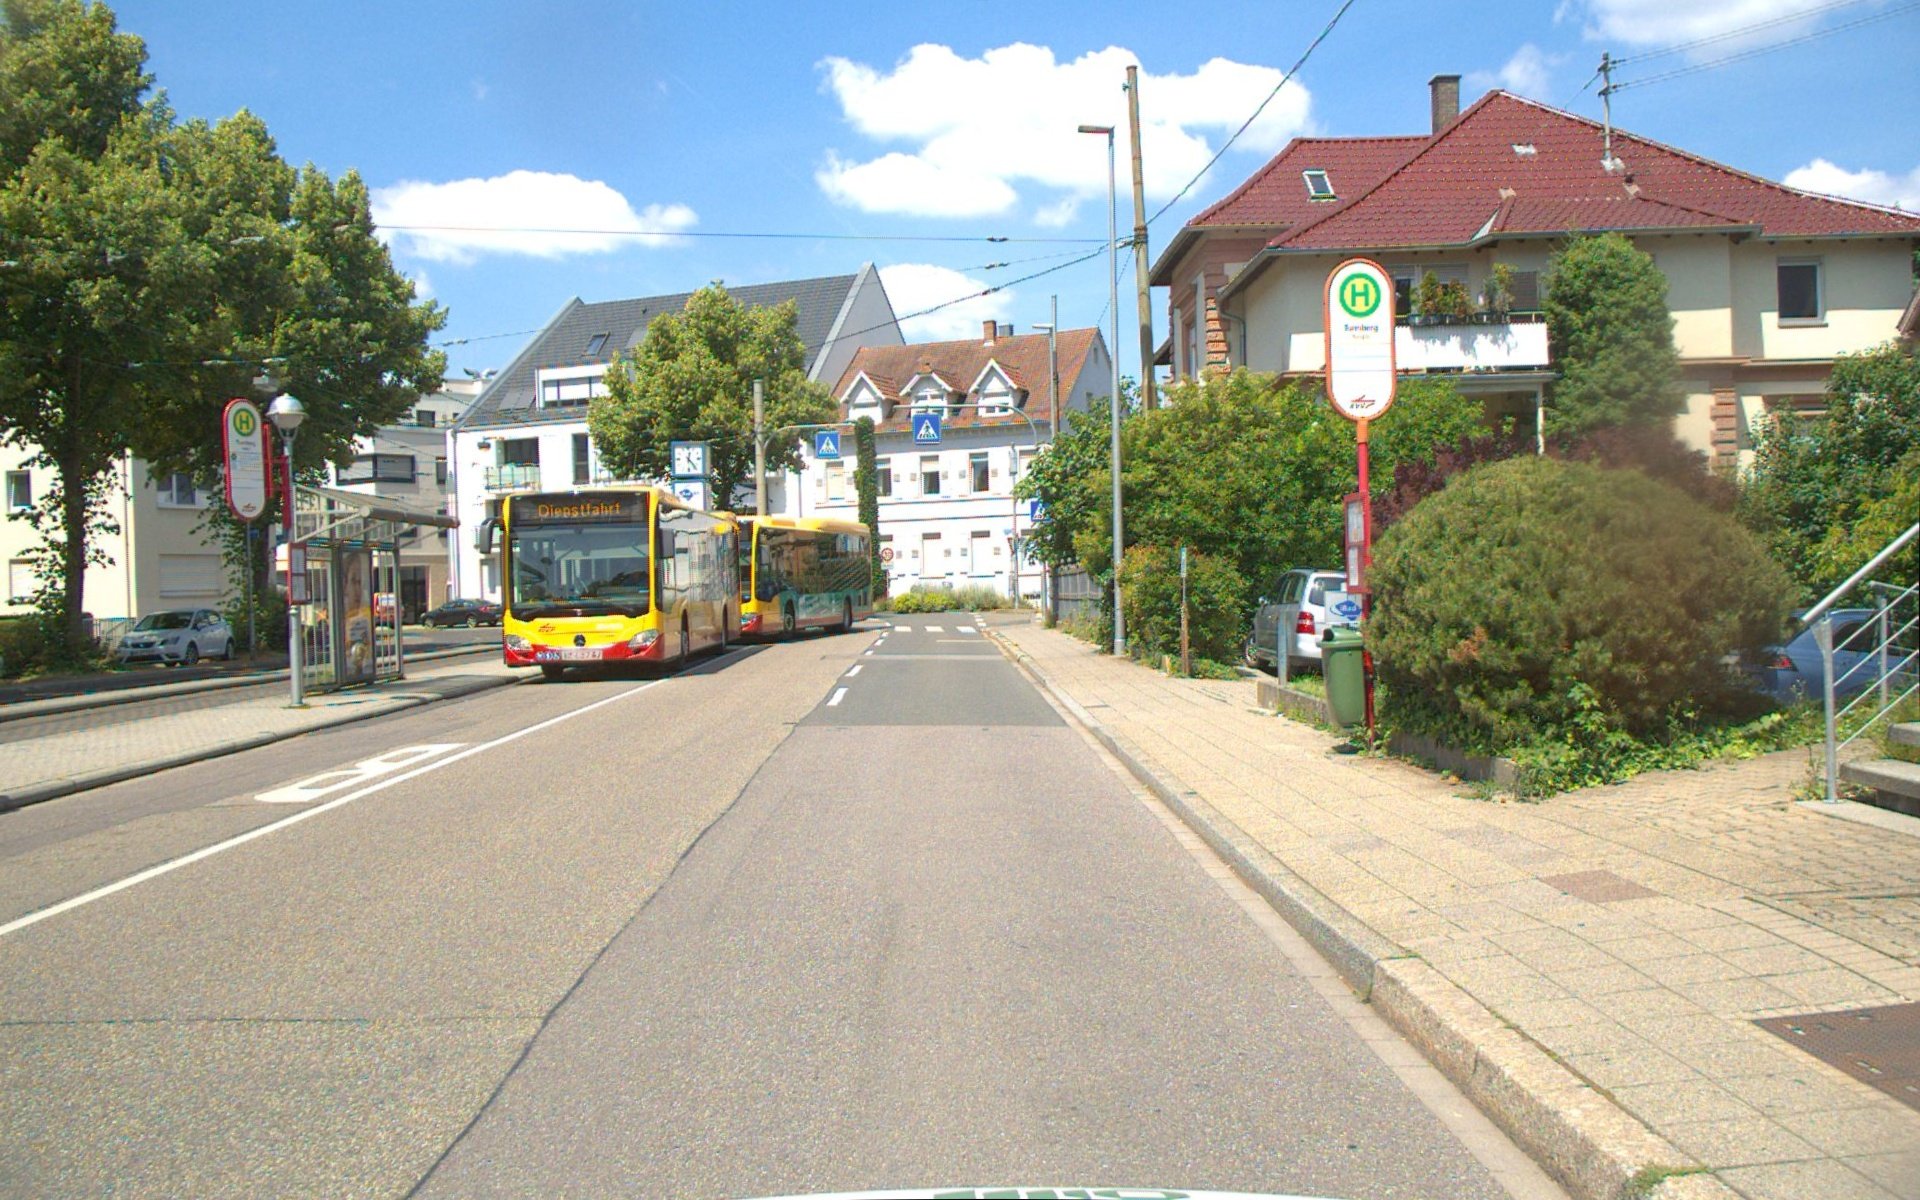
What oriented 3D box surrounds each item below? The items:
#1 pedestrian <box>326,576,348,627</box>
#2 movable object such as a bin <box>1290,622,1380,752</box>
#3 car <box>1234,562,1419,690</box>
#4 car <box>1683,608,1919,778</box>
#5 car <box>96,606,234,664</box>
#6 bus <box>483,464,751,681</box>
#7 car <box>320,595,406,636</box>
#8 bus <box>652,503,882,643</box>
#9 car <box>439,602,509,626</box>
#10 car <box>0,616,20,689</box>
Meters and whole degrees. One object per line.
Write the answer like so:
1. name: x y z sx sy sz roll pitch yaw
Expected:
1. pedestrian: -25.371 0.059 67.307 0.677 2.049 0.611 1 -2 -36
2. movable object such as a bin: 2.826 0.647 12.515 0.398 0.922 0.729 -5 -1 -4
3. car: 5.432 0.401 25.001 1.725 1.656 3.998 4 -1 -1
4. car: 9.569 0.982 16.301 4.049 1.449 1.722 5 0 1
5. car: -19.335 0.858 40.423 1.681 1.342 3.996 1 -1 -5
6. bus: -6.043 -0.407 31.498 2.848 3.305 12.114 0 0 -2
7. car: -30.538 0.789 84.617 3.910 2.049 1.997 0 -1 28
8. bus: -4.856 -0.747 45.043 2.720 3.264 12.318 0 1 10
9. car: -25.211 0.736 85.814 3.137 1.245 1.593 0 -1 16
10. car: -19.013 0.959 29.812 1.659 1.381 4.399 0 -1 -1
